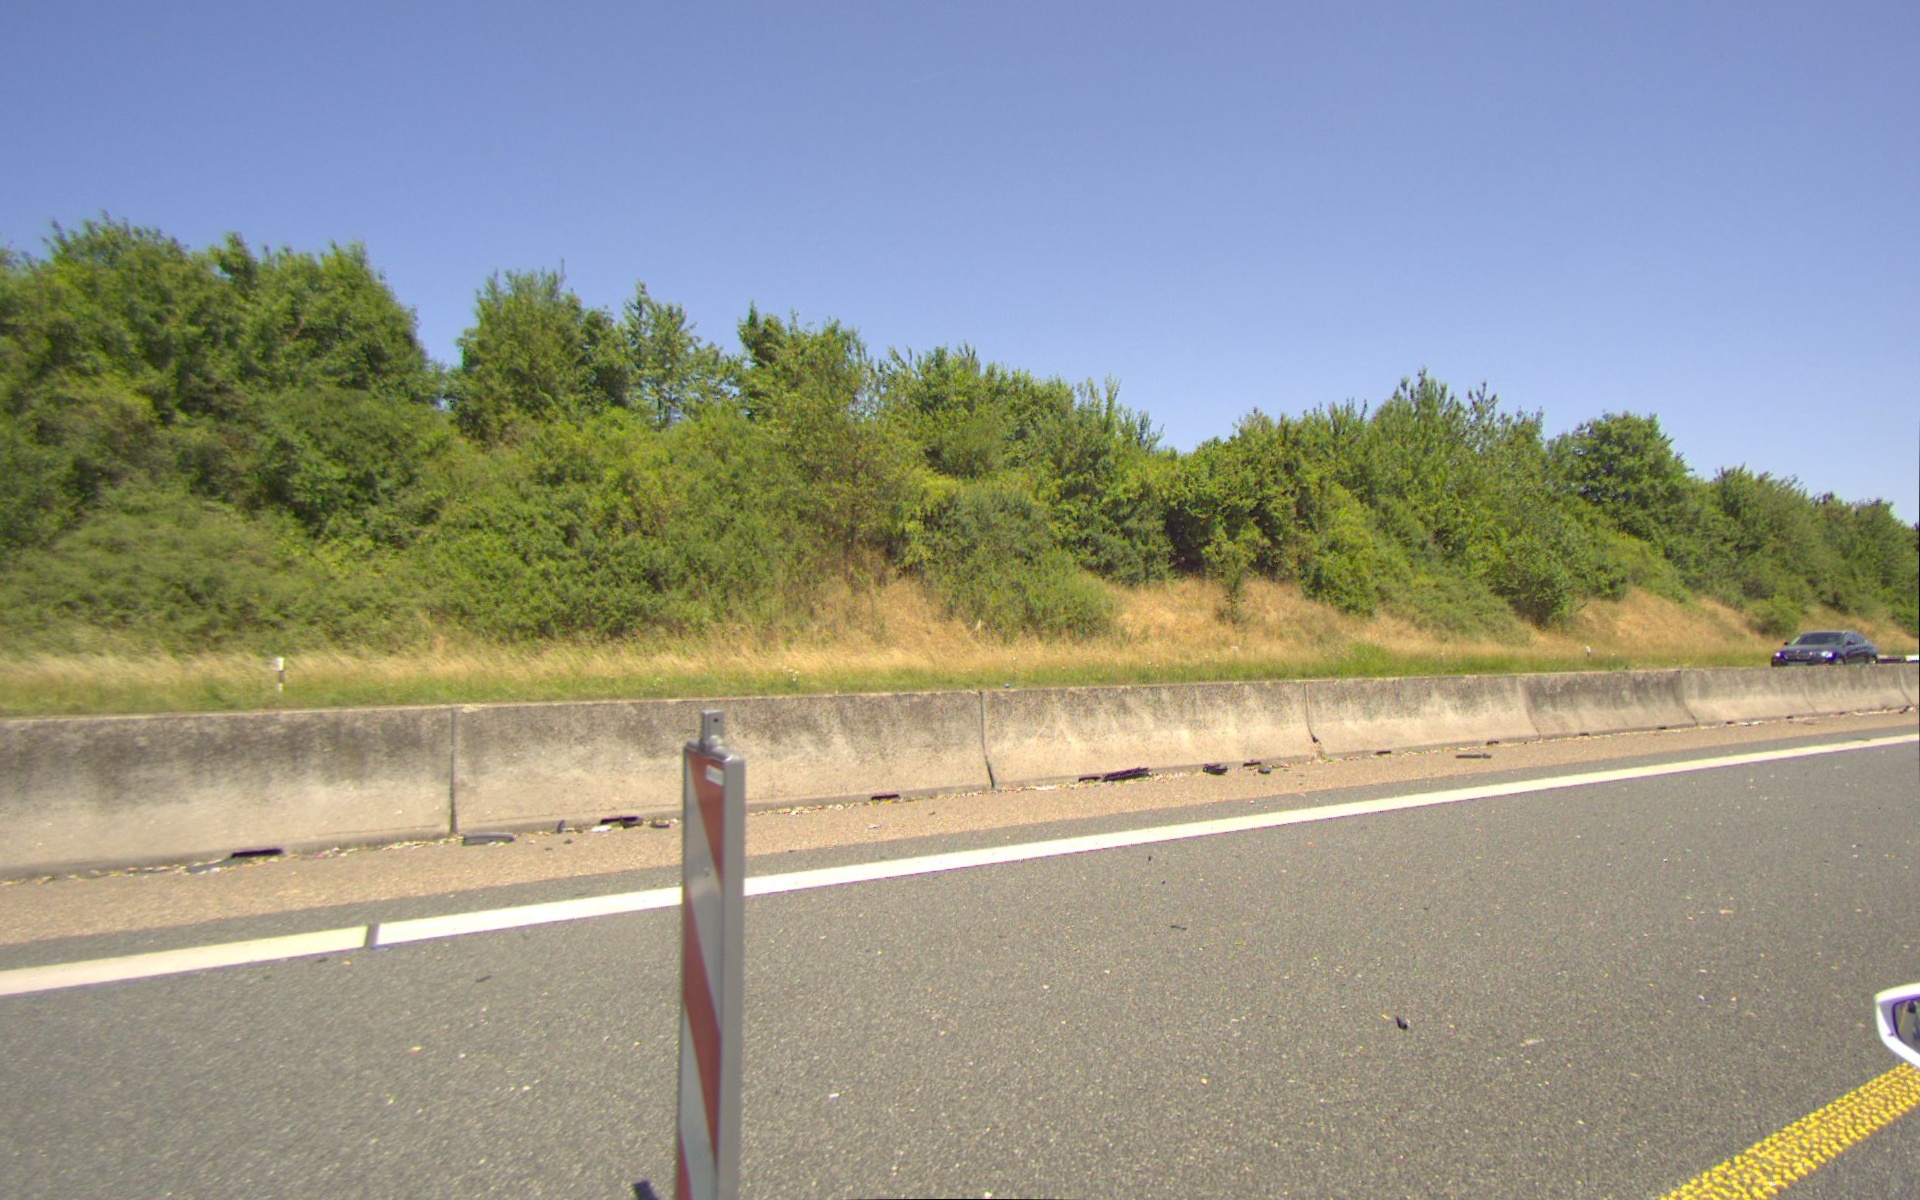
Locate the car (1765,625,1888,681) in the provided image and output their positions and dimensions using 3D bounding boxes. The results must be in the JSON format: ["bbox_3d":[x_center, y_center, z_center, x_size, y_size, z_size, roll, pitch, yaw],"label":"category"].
[{"bbox_3d":[30.584,1.831,35.434,4.512,1.777,1.904,1,0,-31],"label":"car"}]

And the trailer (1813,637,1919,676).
[{"bbox_3d":[35.647,2.110,38.478,7.132,1.362,2.345,1,-2,-31],"label":"trailer"}]
